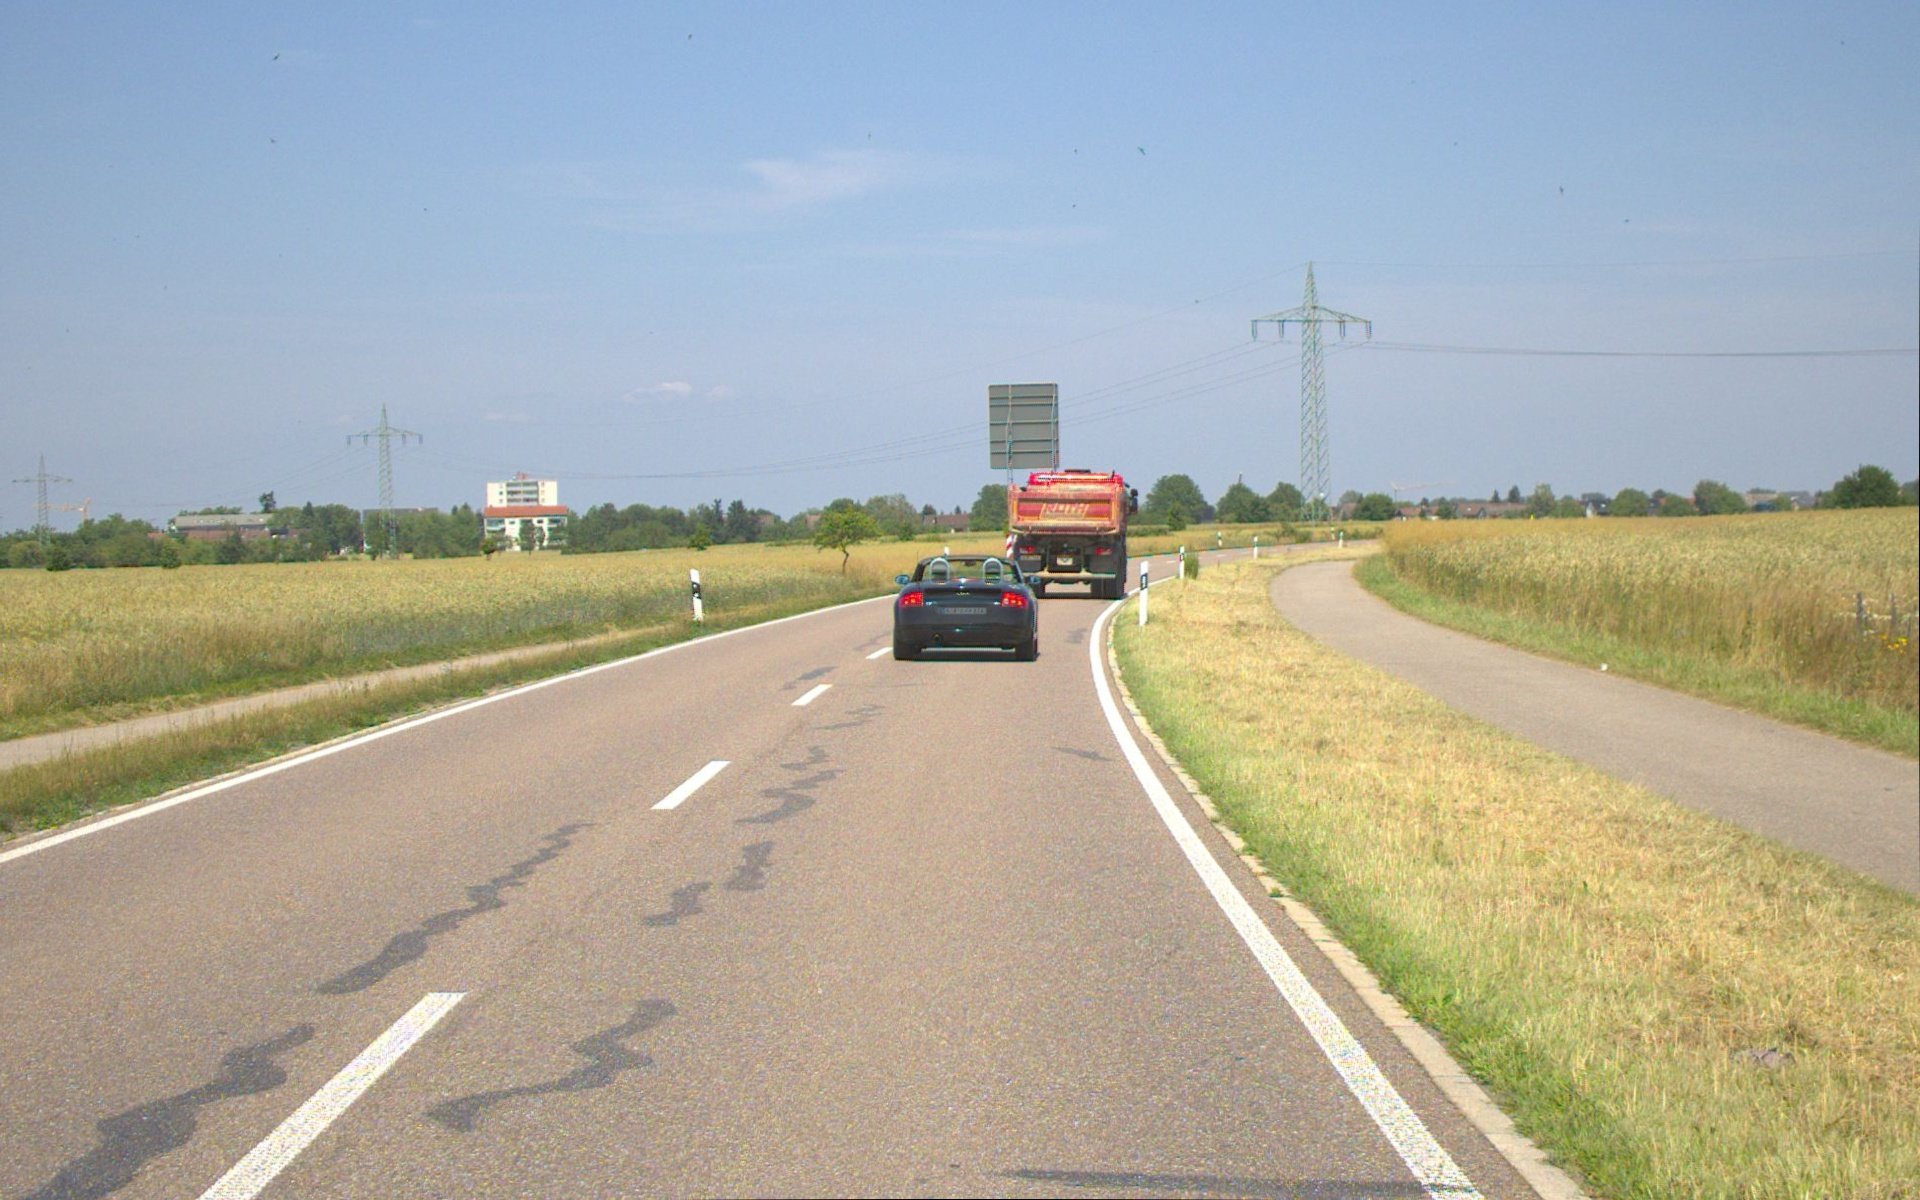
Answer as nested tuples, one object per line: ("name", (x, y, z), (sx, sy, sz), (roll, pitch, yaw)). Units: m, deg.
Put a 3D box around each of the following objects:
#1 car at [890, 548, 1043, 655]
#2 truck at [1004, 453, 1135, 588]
("car", (0.125, -0.002, 43.431), (1.744, 1.275, 4.000), (0, 1, 3))
("truck", (2.696, -1.847, 82.379), (2.938, 3.078, 7.195), (0, 0, 3))
